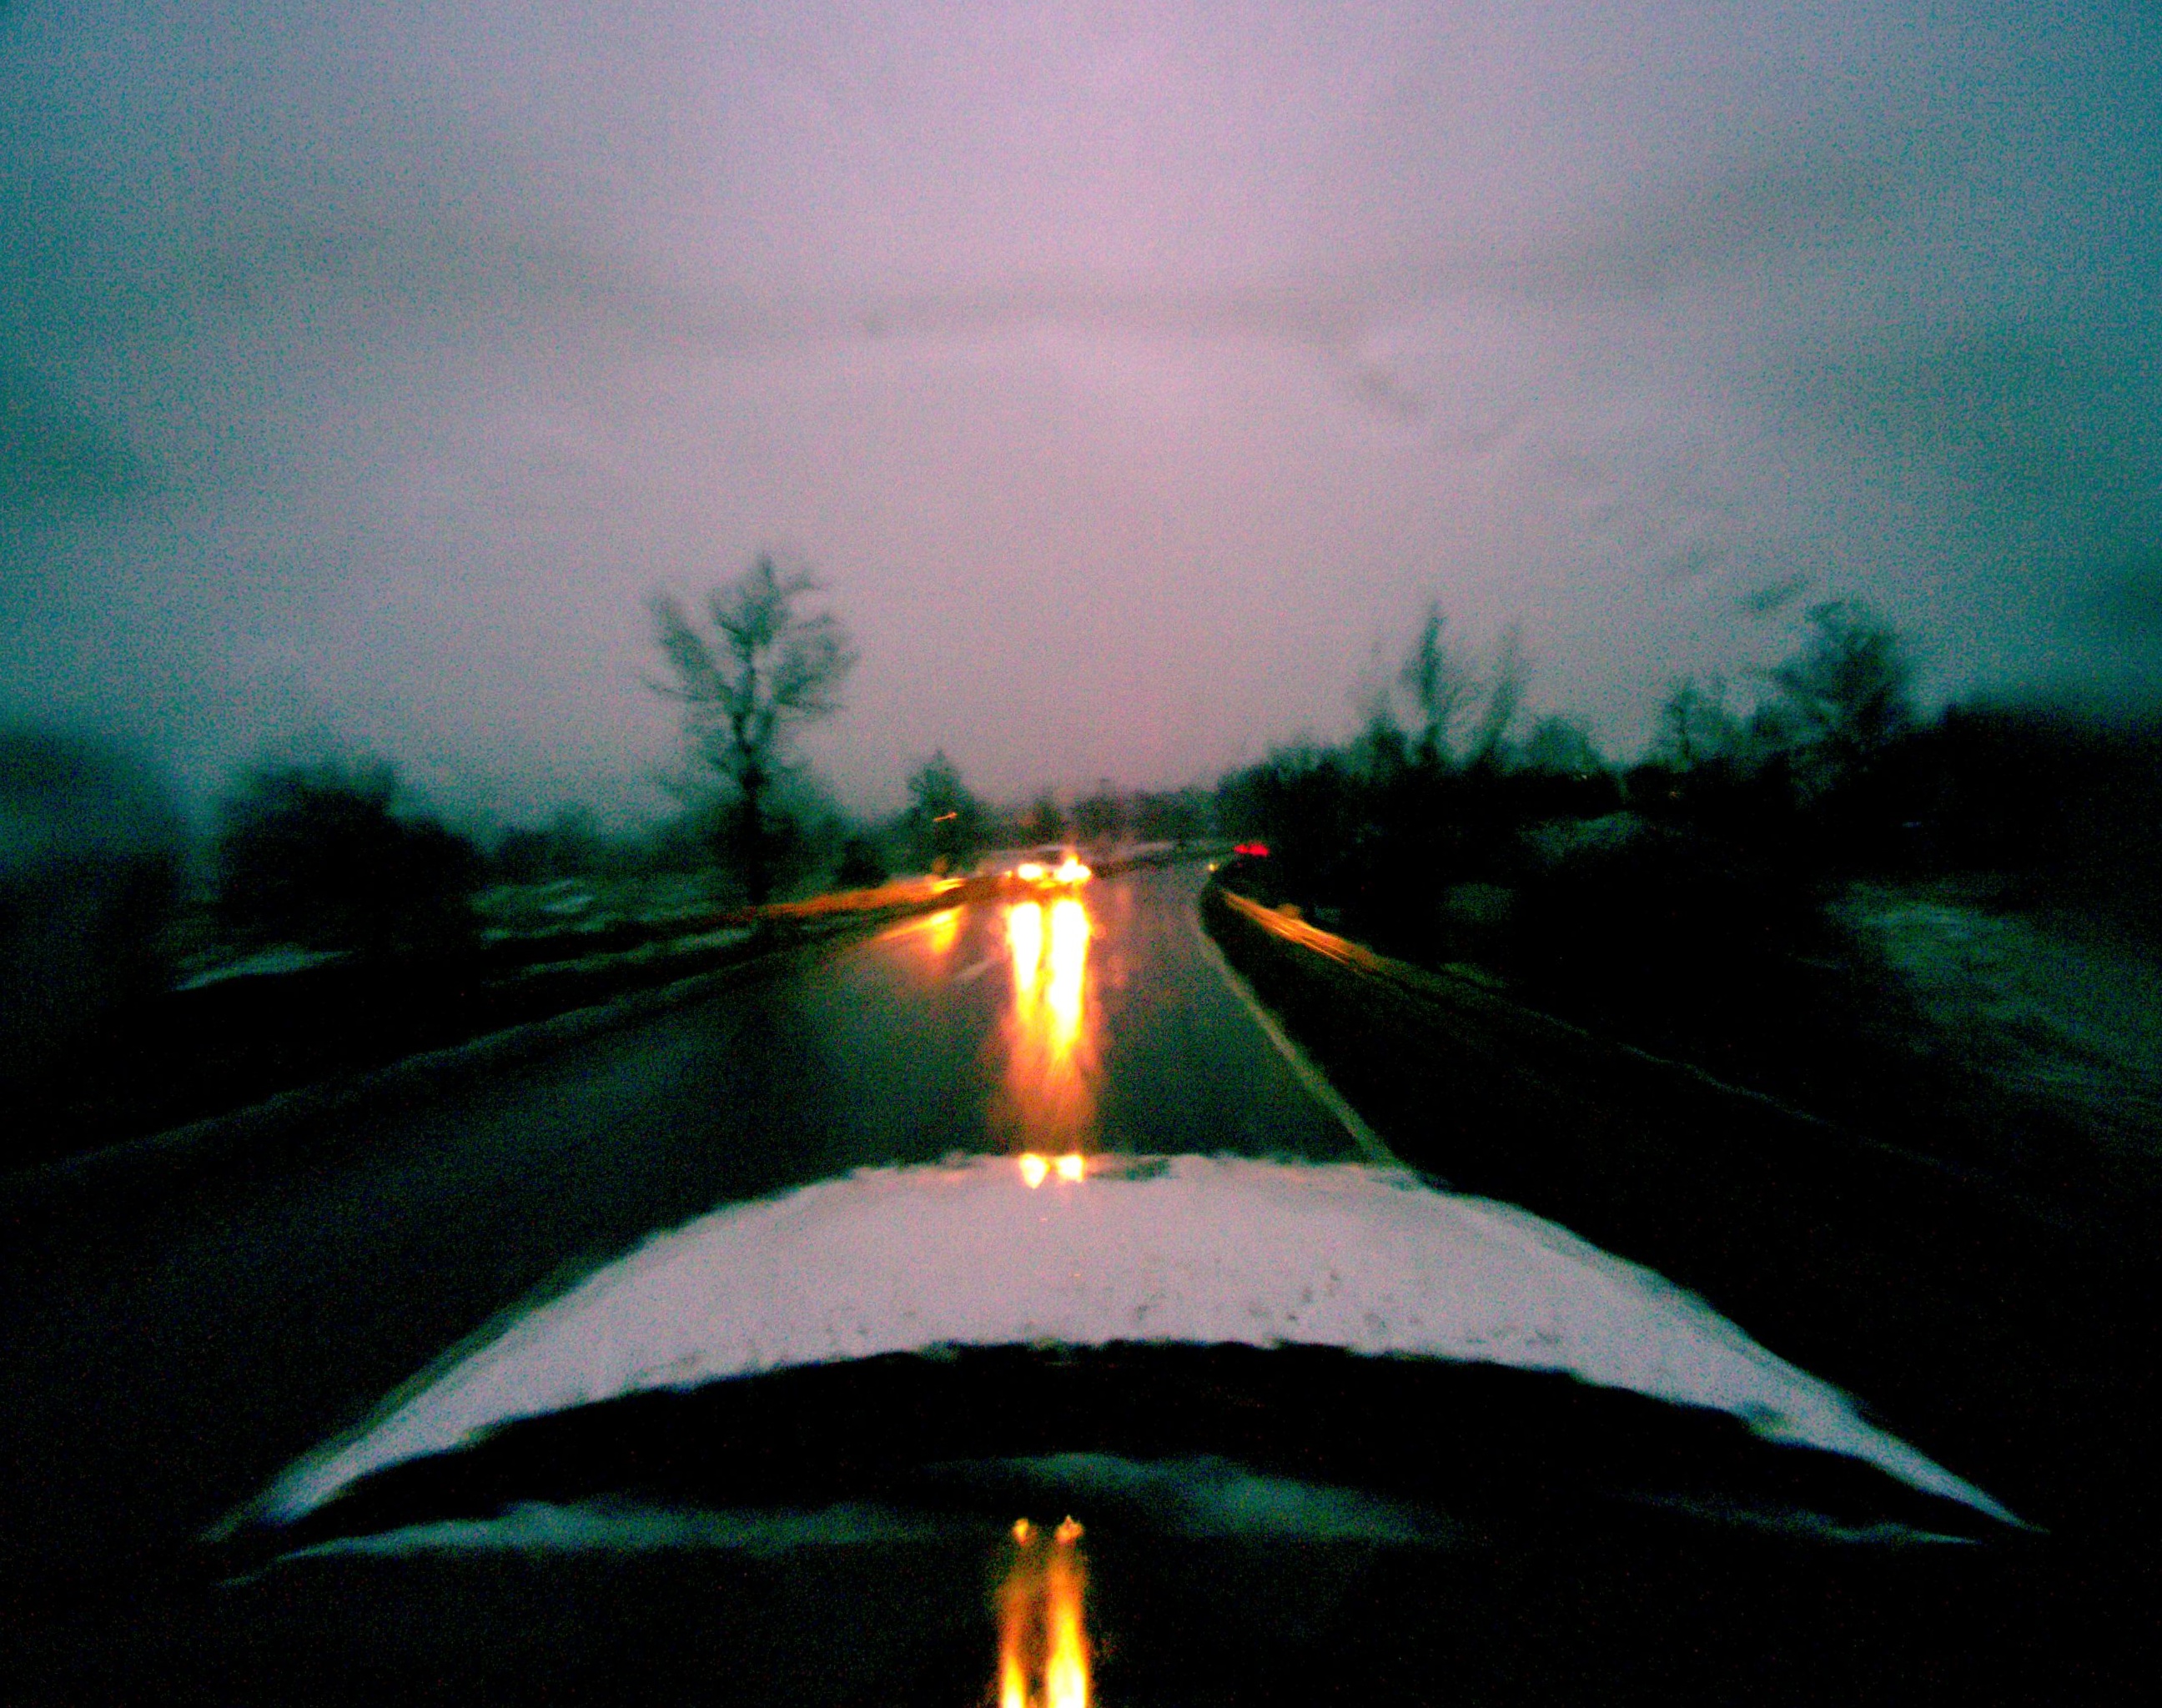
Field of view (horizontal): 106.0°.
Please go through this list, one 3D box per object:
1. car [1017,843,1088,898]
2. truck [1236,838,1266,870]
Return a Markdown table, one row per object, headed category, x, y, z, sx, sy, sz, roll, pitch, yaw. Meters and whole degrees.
| category | x | y | z | sx | sy | sz | roll | pitch | yaw |
| --- | --- | --- | --- | --- | --- | --- | --- | --- | --- |
| car | -0.955 | 0.554 | 30.637 | 1.873 | 1.863 | 5.016 | -2 | 0 | 7 |
| truck | 17.496 | -0.042 | 83.583 | 2.513 | 2.868 | 5.949 | -3 | 3 | 16 |
